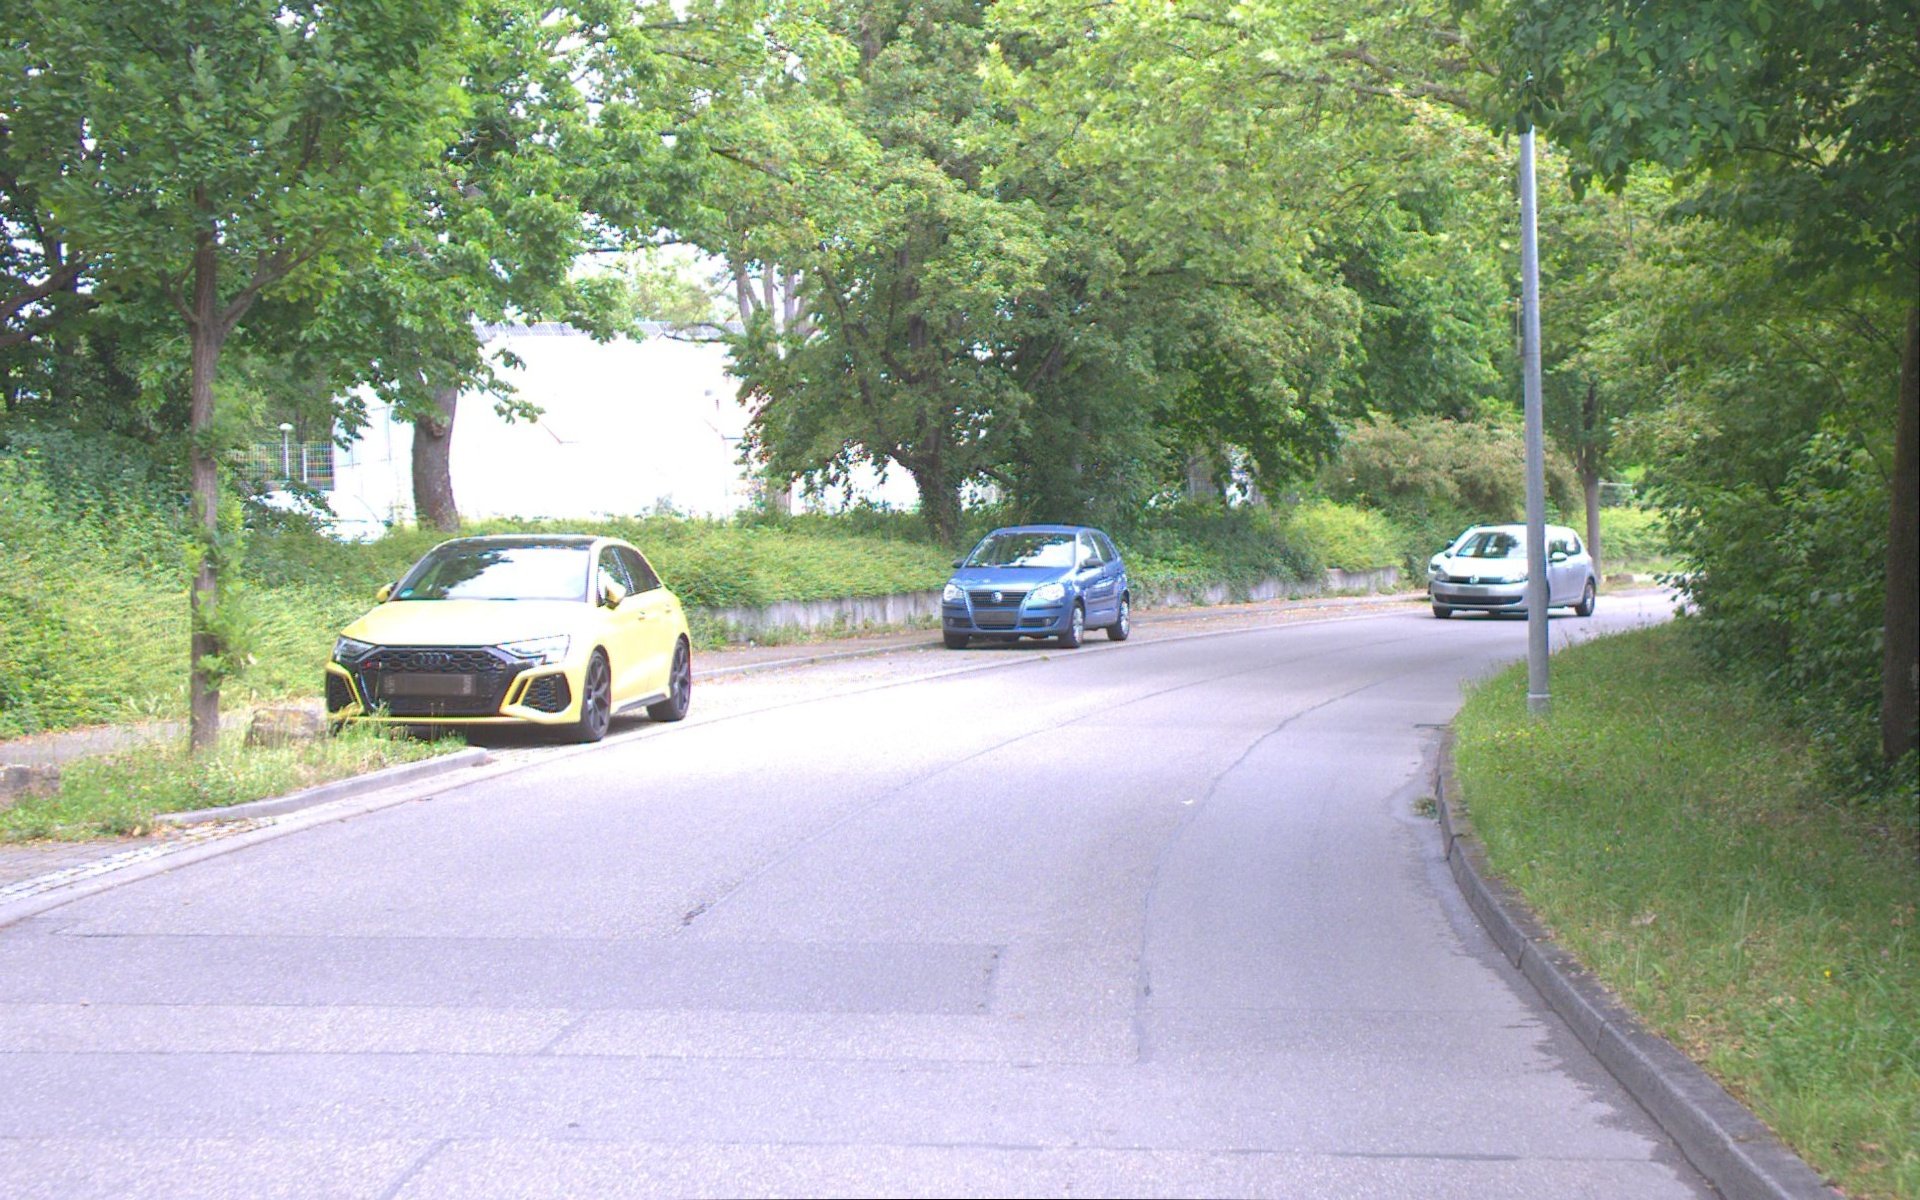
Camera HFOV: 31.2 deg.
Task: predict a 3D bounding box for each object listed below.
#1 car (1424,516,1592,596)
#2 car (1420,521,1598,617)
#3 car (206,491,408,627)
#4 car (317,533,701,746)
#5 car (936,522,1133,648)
[{"bbox_3d":[10.120,-0.836,63.250,1.816,1.419,4.354,1,2,27],"label":"car"},{"bbox_3d":[8.822,-0.526,54.972,1.679,1.457,4.056,2,2,26],"label":"car"},{"bbox_3d":[-8.486,-0.543,44.444,1.740,1.616,3.874,-2,2,-23],"label":"car"},{"bbox_3d":[-3.137,0.228,24.767,1.700,1.398,4.272,0,1,7],"label":"car"},{"bbox_3d":[0.963,-0.214,42.263,1.534,1.454,3.717,-1,1,16],"label":"car"}]
